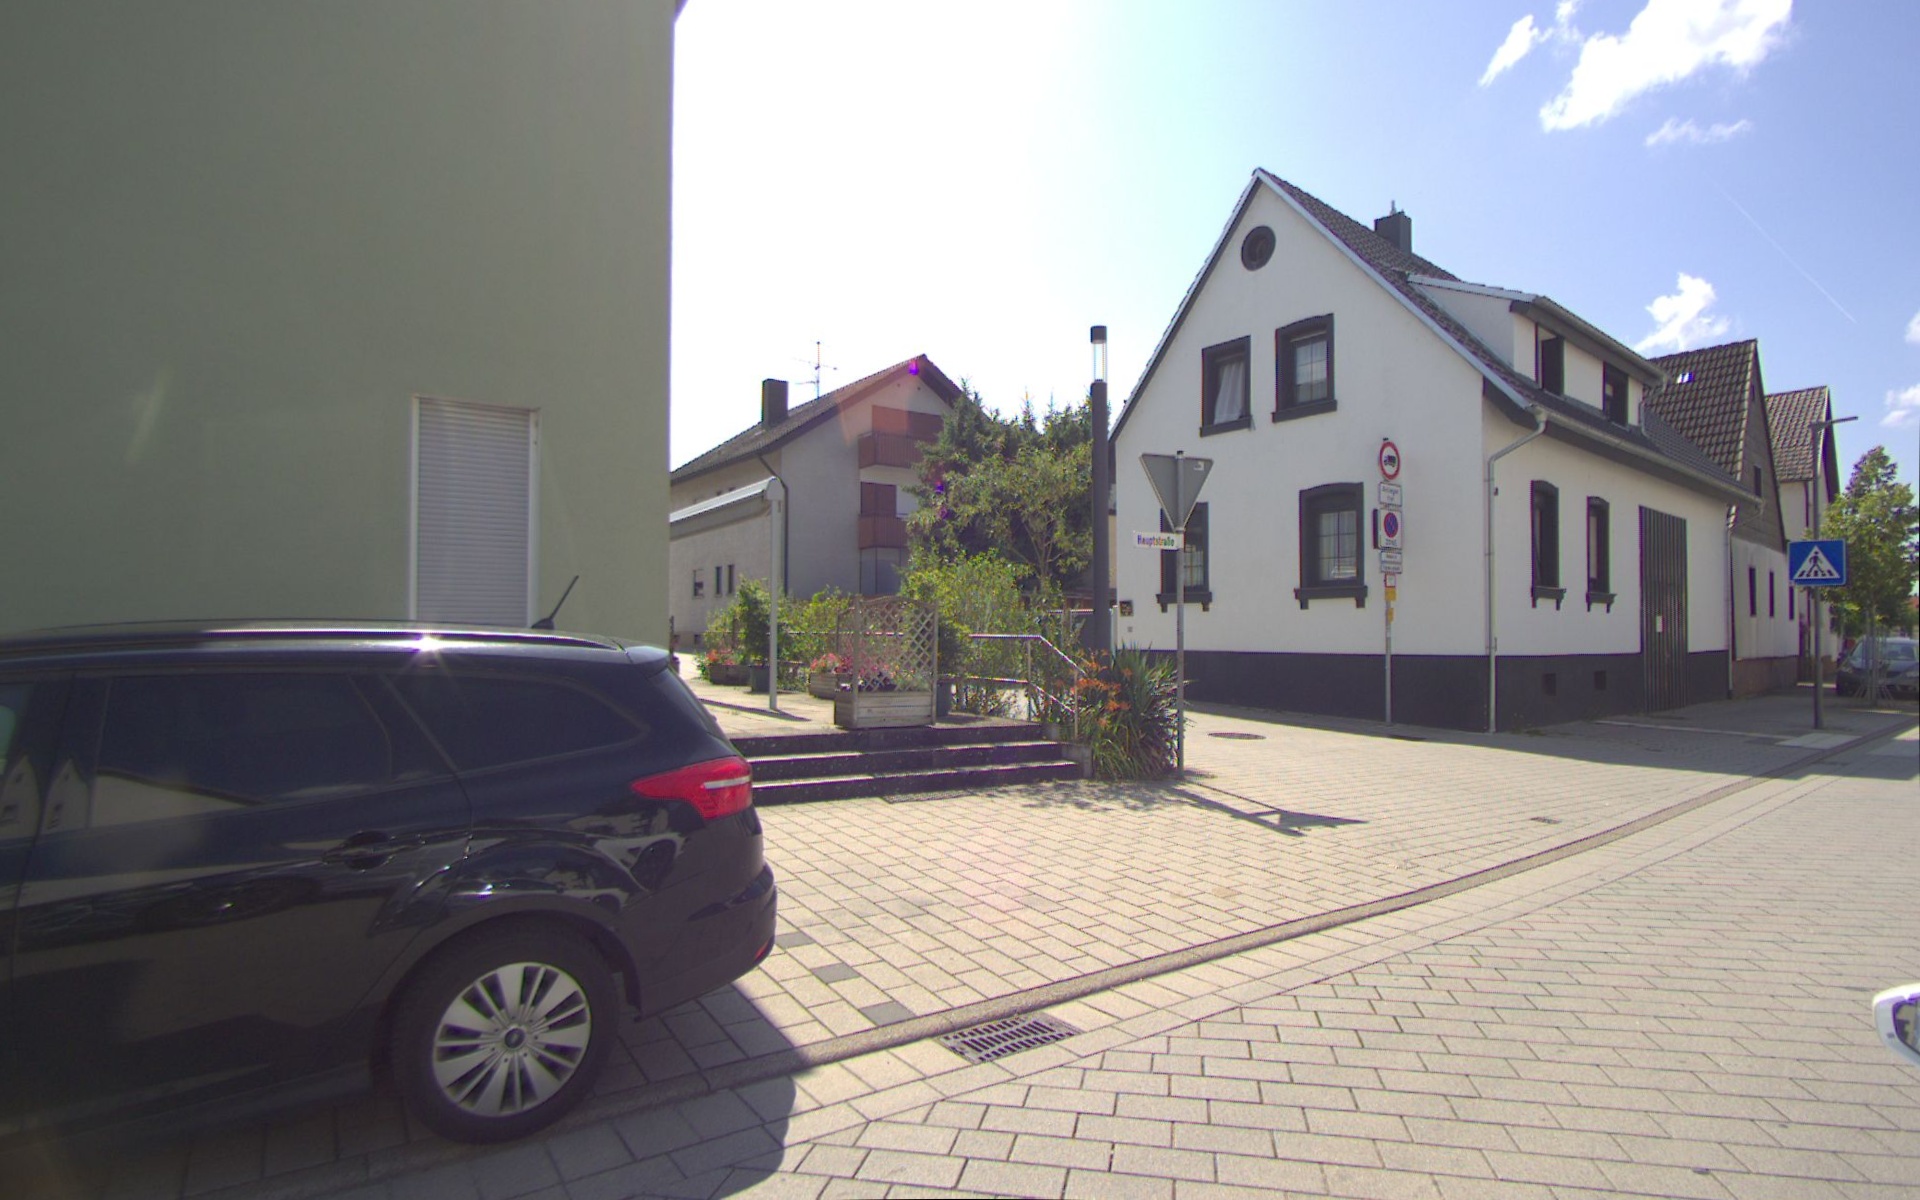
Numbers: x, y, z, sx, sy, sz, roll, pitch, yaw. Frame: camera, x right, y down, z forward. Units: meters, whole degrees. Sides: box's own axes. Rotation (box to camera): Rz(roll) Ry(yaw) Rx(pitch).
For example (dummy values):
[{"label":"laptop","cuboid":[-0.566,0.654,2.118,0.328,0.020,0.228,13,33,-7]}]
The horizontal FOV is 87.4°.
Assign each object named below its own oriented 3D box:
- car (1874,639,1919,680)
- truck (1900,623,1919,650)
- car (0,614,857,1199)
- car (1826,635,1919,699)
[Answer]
[{"label":"car","cuboid":[36.679,2.285,38.851,1.775,1.495,3.846,-2,-3,45]},{"label":"truck","cuboid":[148.119,5.666,155.443,3.525,4.006,8.534,-2,-2,42]},{"label":"car","cuboid":[-2.618,0.818,3.118,4.231,1.510,1.803,1,0,-33]},{"label":"car","cuboid":[24.796,1.731,27.072,3.971,1.550,1.731,2,-1,-42]}]
